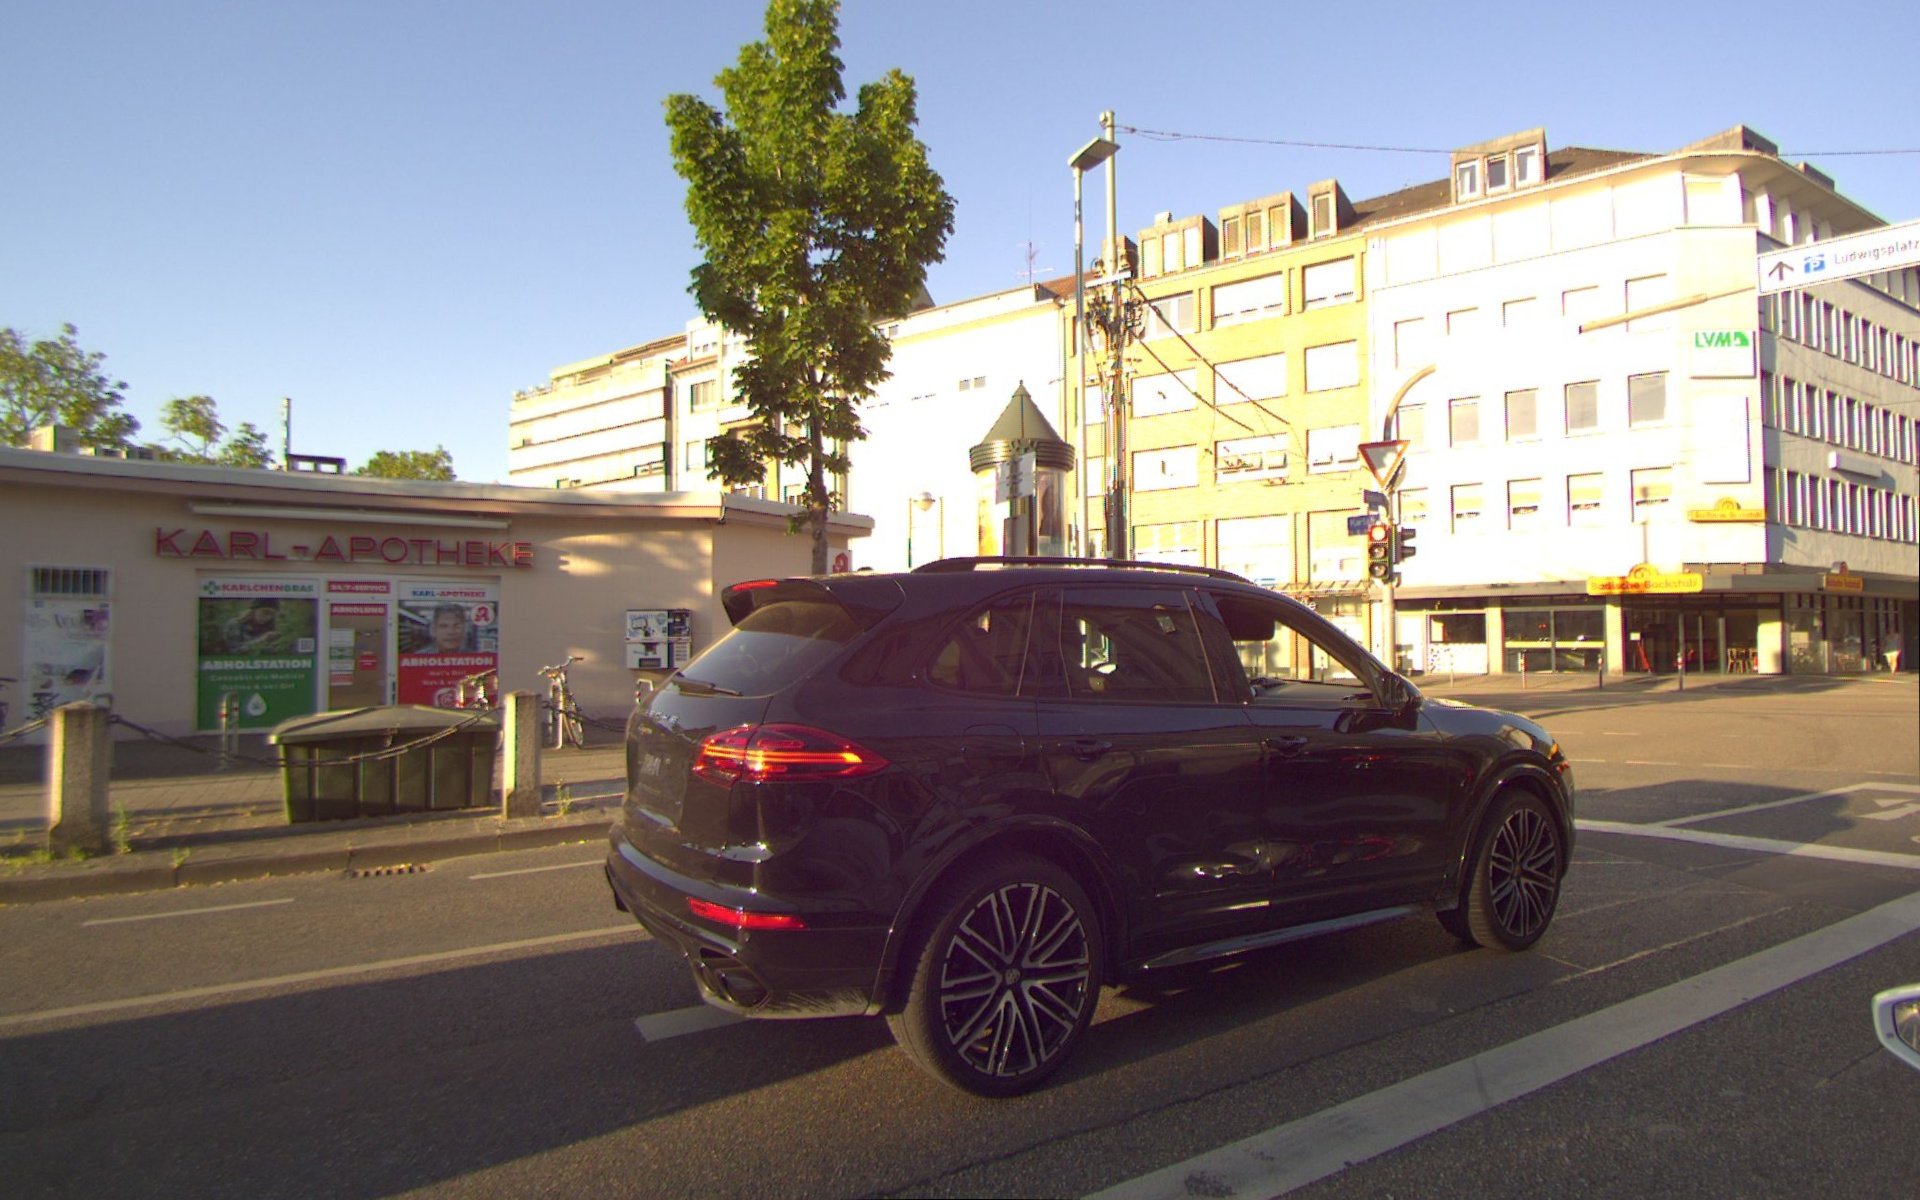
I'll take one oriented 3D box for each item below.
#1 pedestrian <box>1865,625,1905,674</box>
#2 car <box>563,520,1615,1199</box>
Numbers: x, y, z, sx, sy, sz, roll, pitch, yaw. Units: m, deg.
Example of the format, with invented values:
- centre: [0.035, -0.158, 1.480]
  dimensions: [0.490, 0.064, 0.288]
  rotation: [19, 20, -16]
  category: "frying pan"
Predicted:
- centre: [32.979, 1.756, 35.825]
  dimensions: [0.862, 1.698, 0.819]
  rotation: [1, -3, -32]
  category: "pedestrian"
- centre: [0.751, 0.737, 4.551]
  dimensions: [4.510, 1.736, 1.939]
  rotation: [1, -3, -31]
  category: "car"
